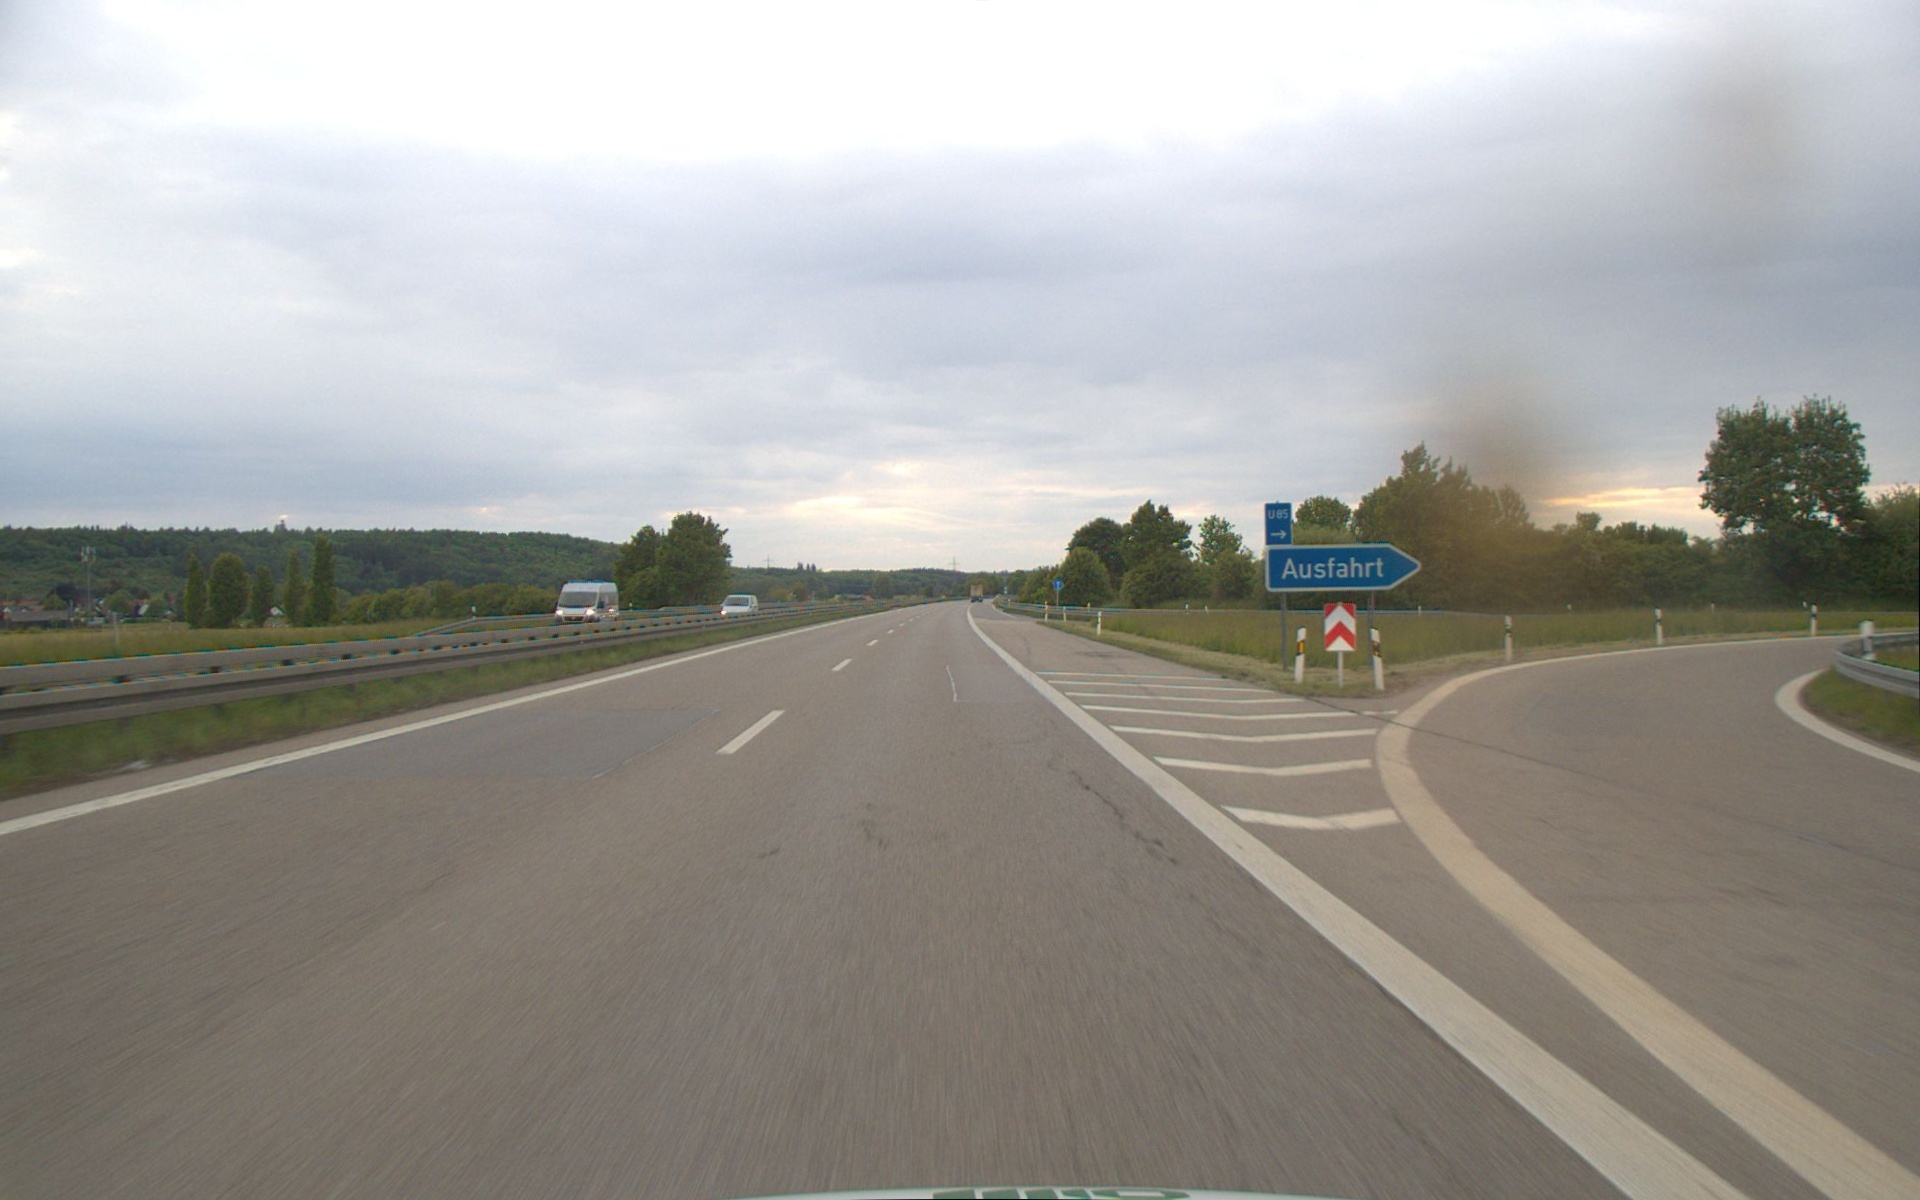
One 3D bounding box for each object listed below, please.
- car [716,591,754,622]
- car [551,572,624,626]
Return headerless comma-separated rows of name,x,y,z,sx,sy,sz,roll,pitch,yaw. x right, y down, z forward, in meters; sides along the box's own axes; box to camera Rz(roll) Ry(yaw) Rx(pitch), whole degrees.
car,-14.337,0.381,105.669,1.867,1.924,5.070,1,0,-1
car,-18.149,-0.057,80.907,2.102,2.526,6.588,1,0,-1
